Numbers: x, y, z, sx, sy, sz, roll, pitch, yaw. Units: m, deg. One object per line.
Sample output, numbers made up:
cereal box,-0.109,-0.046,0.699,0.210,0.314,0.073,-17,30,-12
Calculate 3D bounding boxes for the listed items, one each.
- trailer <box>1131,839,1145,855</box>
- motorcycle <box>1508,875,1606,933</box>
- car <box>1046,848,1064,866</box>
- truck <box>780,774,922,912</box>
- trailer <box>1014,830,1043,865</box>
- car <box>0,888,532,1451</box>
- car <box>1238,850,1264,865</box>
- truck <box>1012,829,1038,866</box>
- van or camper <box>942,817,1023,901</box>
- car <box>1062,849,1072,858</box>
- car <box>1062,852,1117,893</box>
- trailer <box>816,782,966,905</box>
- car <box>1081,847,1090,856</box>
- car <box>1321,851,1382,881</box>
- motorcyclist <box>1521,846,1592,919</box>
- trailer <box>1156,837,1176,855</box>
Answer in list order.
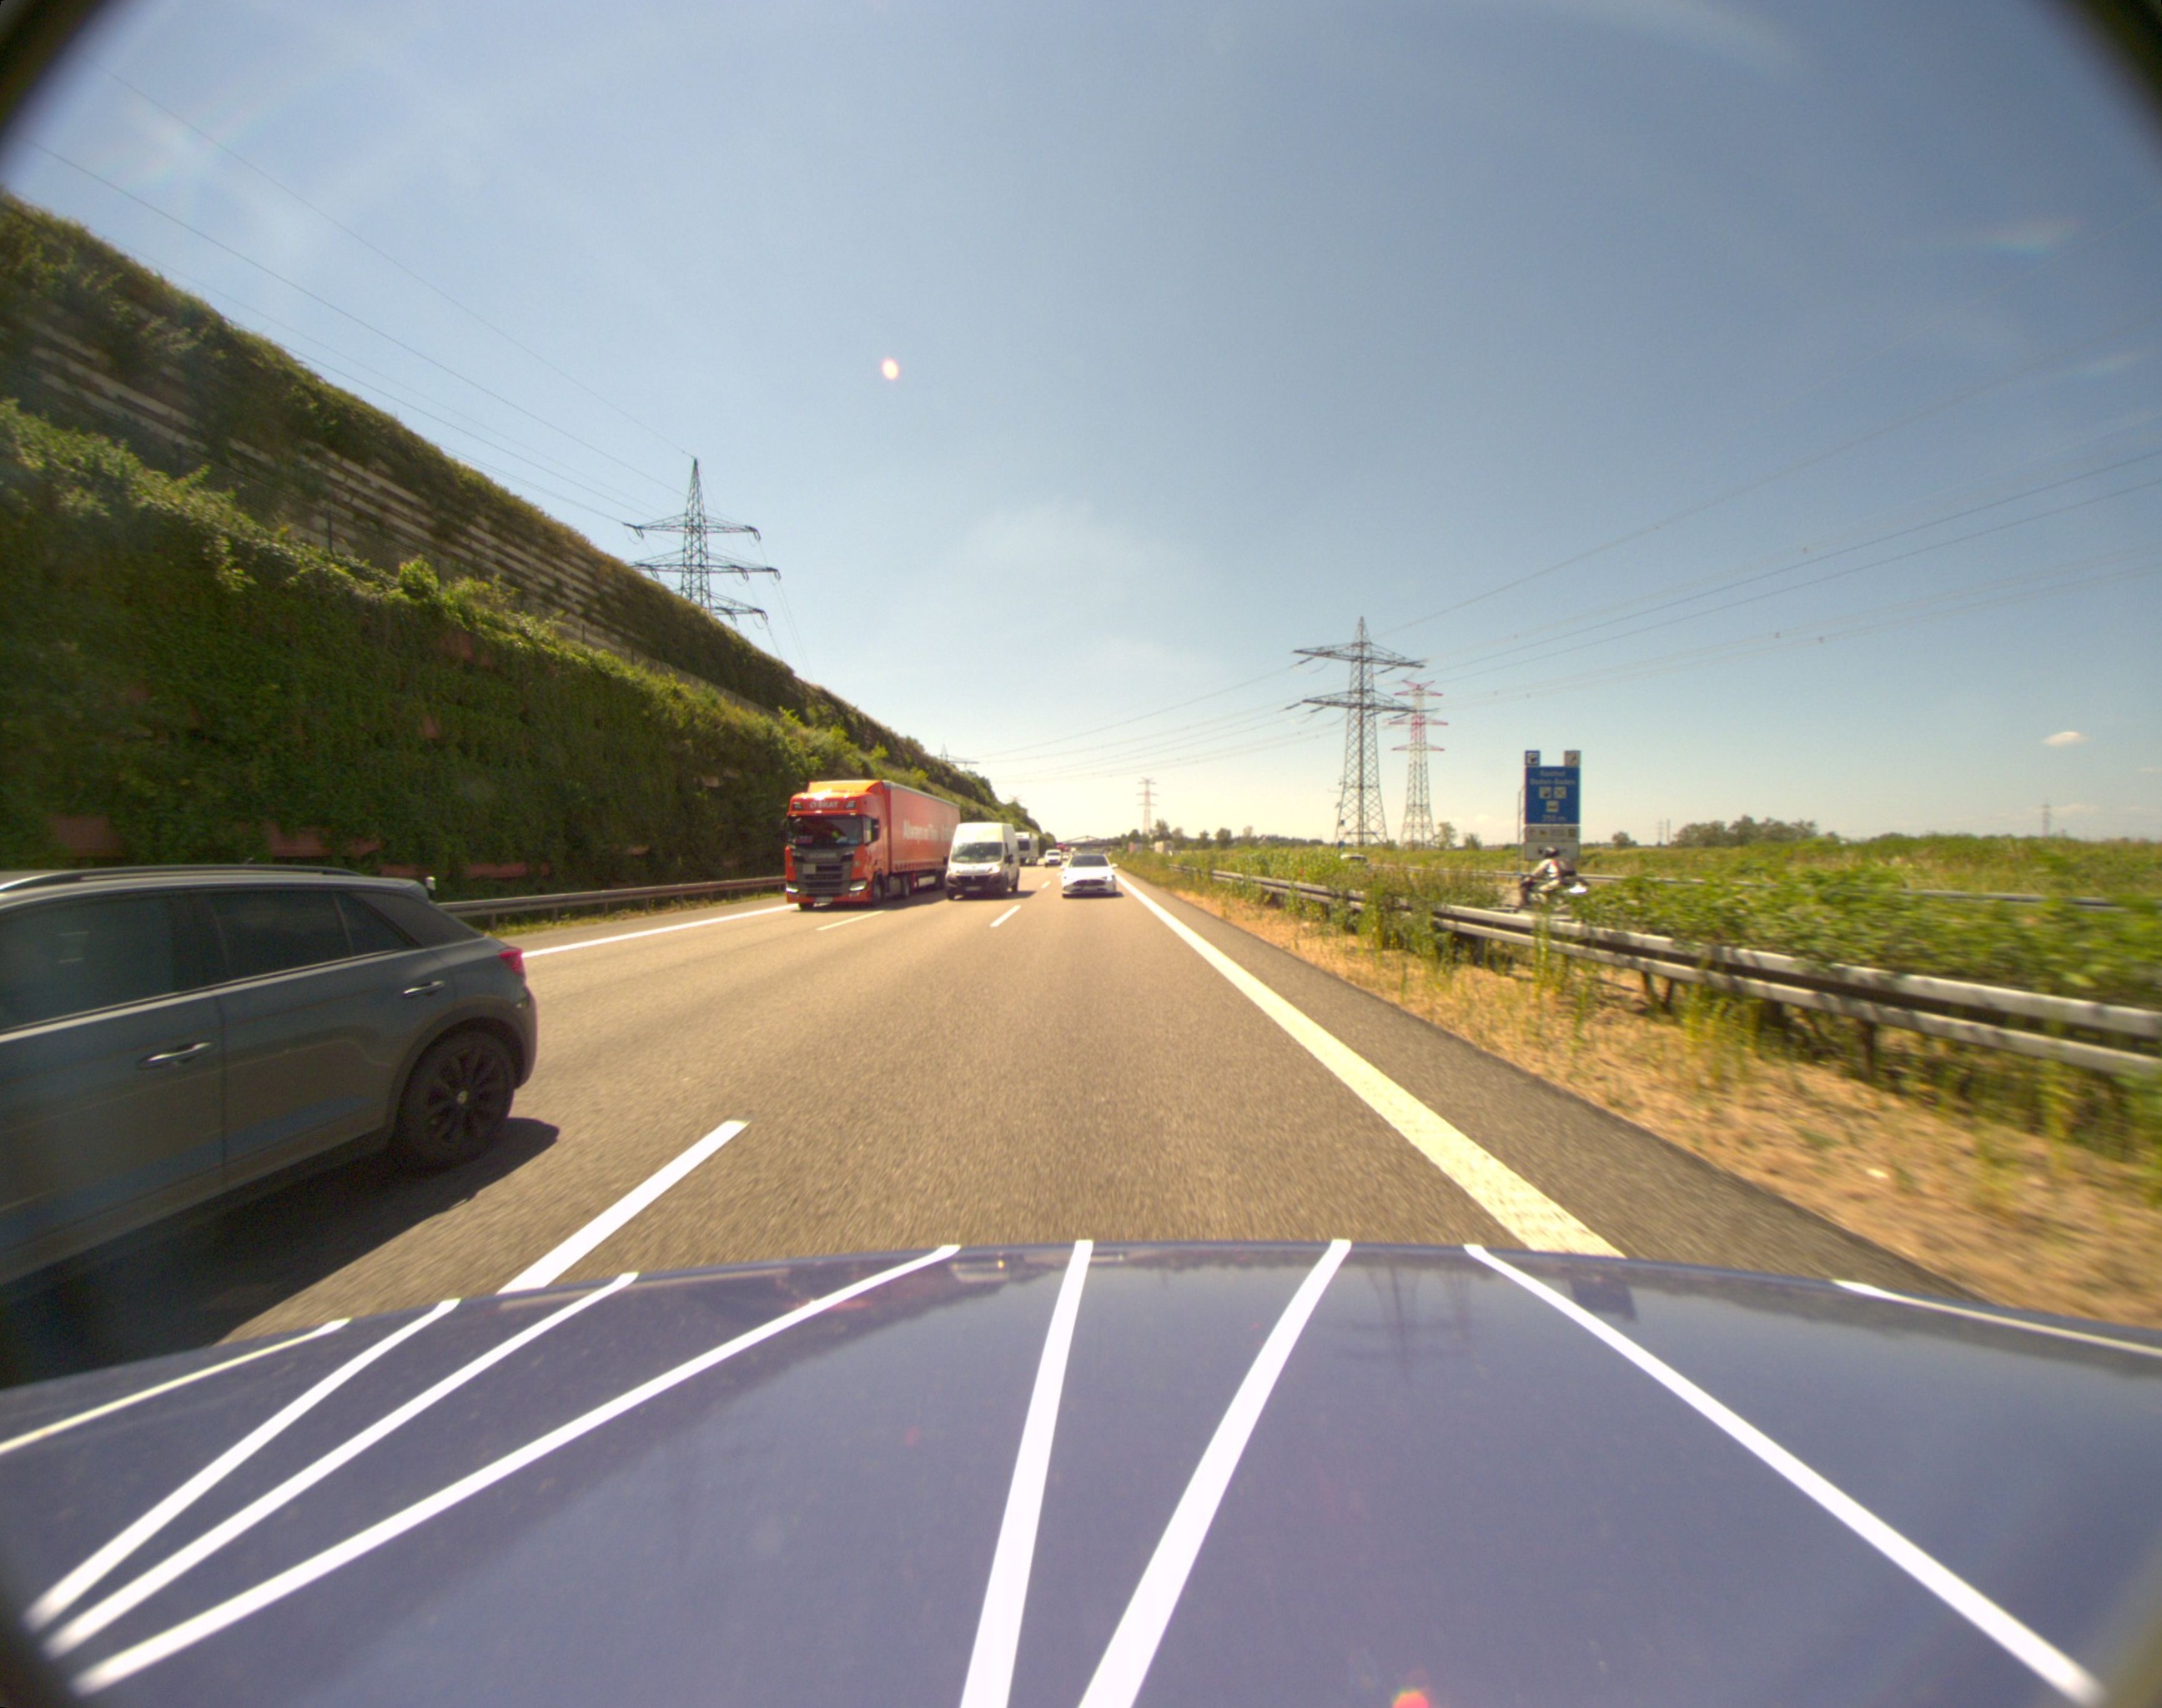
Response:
trailer,15.470,-1.986,205.749,2.597,4.213,14.327,0,0,0
motorcycle,8.987,0.907,14.438,0.701,0.966,1.845,0,1,1
car,-2.735,0.268,80.798,1.784,1.783,3.999,-2,0,0
truck,-7.360,-0.344,25.355,2.624,3.969,6.526,-1,1,1
trailer,-6.634,-0.812,98.503,2.521,4.187,17.025,-1,0,0
car,-4.019,0.985,2.306,1.753,1.516,3.995,-1,1,0
car,17.086,0.351,76.386,1.598,1.426,4.269,0,1,-1
truck,-6.612,-0.770,90.197,2.514,4.196,6.255,-1,1,0
van or camper,-3.498,0.144,28.469,2.102,2.753,6.756,-1,0,0
car,-2.423,-0.027,130.840,1.784,1.475,3.999,-2,0,-1
car,0.305,0.670,30.433,1.999,1.474,4.107,-1,0,0
trailer,-7.291,-0.398,31.826,2.652,3.982,13.604,-1,0,1
car,1.097,-0.649,183.961,1.998,2.002,3.999,-2,1,0
car,13.911,0.580,39.290,1.816,1.471,4.000,0,1,1
motorcyclist,9.014,0.520,14.448,0.709,1.339,1.013,0,1,0
trailer,19.306,-1.844,173.599,2.861,3.800,15.976,0,0,0
